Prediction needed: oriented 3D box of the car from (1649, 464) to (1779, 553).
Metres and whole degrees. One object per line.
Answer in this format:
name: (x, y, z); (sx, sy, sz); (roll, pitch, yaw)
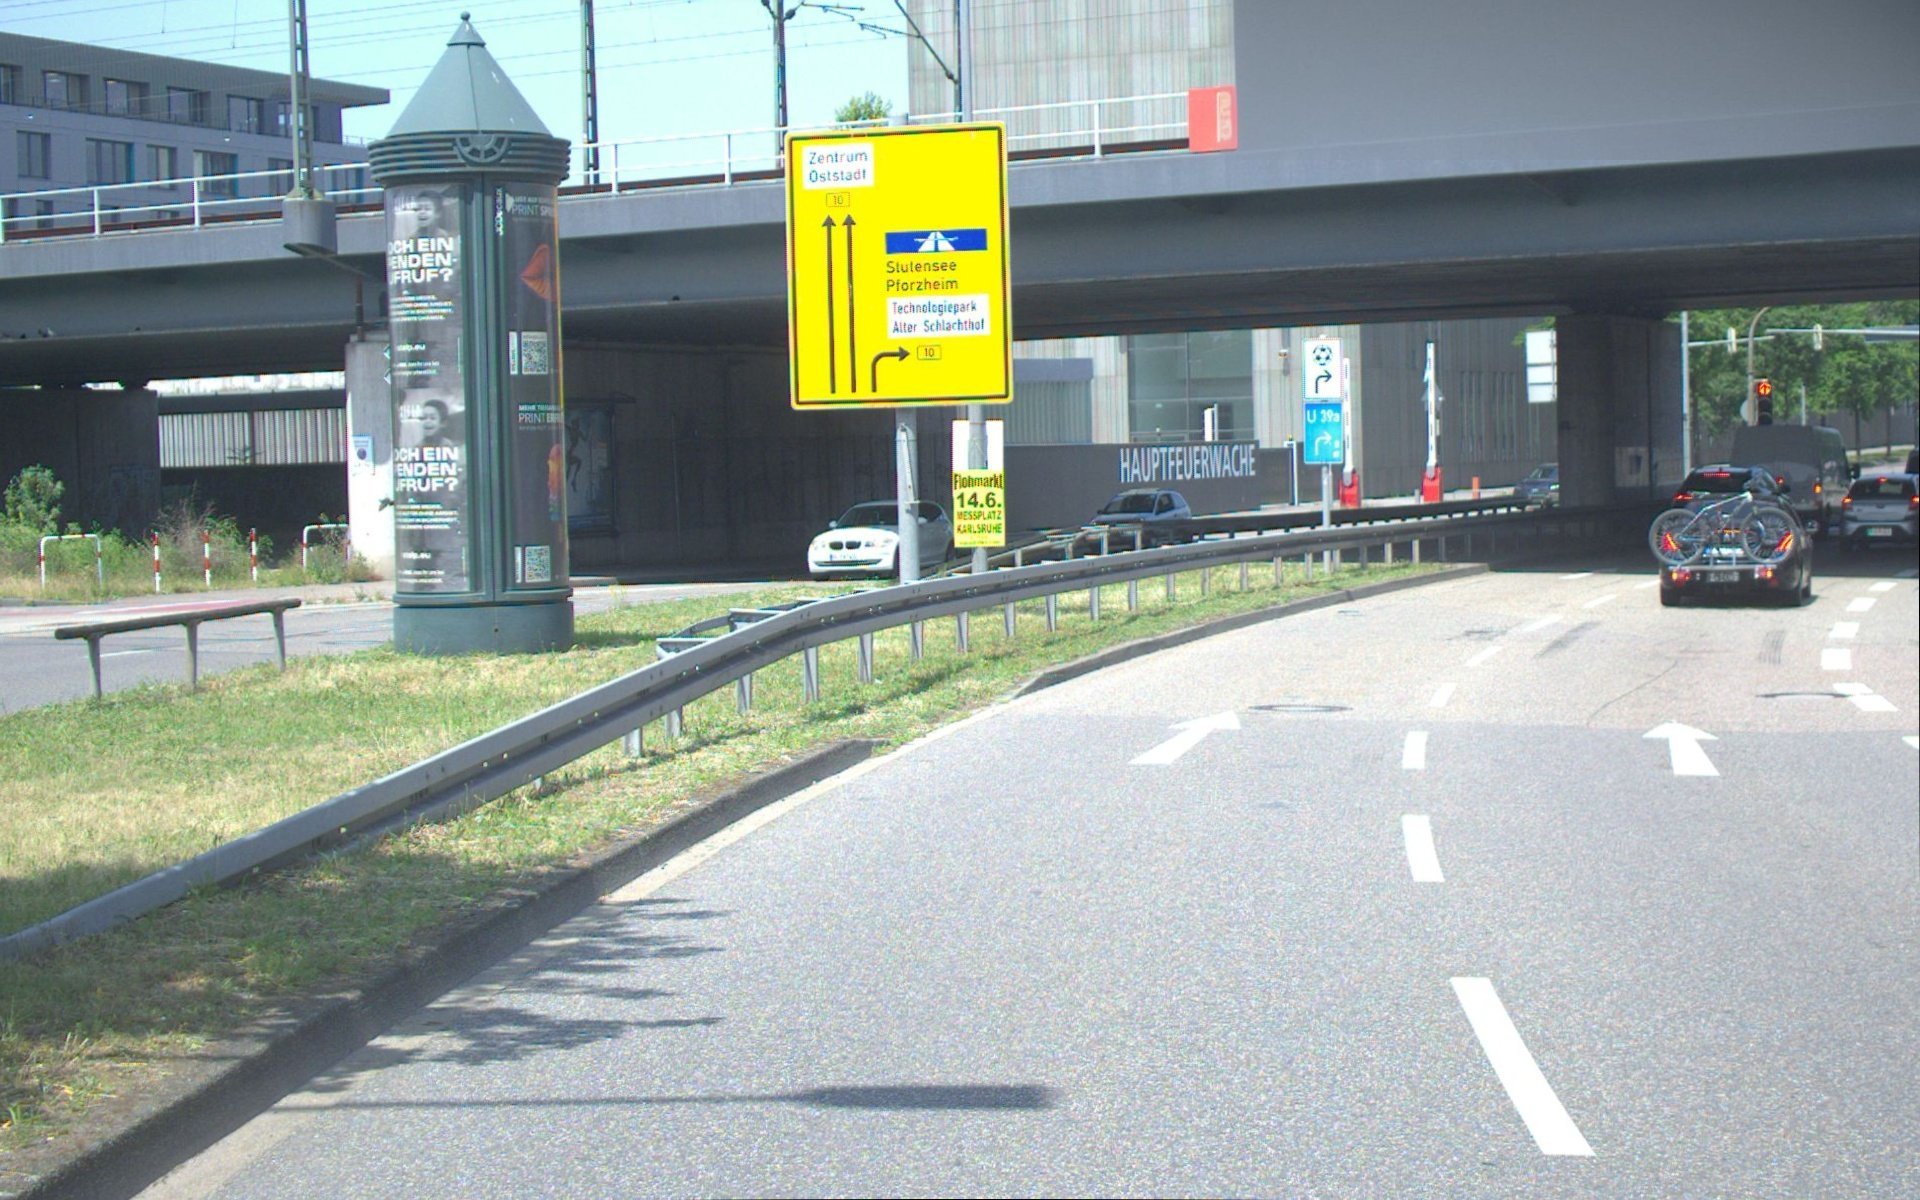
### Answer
car: (15.028, -1.825, 68.426); (1.942, 1.715, 3.996); (0, 2, 21)

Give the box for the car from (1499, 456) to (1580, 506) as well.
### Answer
car: (19.392, -3.963, 114.852); (1.856, 1.617, 3.996); (0, 2, 22)

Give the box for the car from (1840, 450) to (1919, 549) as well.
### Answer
car: (18.503, -1.980, 67.722); (1.842, 1.883, 3.996); (0, 2, 21)

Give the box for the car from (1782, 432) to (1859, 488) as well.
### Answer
car: (32.436, -5.276, 129.579); (1.996, 2.007, 3.995); (-2, 1, 25)

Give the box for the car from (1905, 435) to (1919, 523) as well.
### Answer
car: (21.900, -2.655, 75.521); (1.842, 1.883, 3.996); (0, 2, 21)

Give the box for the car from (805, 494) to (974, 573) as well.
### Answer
car: (-1.252, -1.240, 62.962); (1.656, 1.374, 4.213); (0, 2, 20)

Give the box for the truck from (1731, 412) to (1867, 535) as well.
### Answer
truck: (18.304, -2.751, 74.892); (2.070, 2.529, 3.995); (-1, 2, 25)

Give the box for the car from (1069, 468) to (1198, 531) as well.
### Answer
car: (4.352, -2.493, 85.651); (1.996, 1.436, 3.996); (-2, 1, 22)

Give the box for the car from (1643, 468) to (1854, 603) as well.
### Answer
car: (10.108, -0.866, 43.856); (1.959, 1.628, 4.275); (1, 2, 22)
